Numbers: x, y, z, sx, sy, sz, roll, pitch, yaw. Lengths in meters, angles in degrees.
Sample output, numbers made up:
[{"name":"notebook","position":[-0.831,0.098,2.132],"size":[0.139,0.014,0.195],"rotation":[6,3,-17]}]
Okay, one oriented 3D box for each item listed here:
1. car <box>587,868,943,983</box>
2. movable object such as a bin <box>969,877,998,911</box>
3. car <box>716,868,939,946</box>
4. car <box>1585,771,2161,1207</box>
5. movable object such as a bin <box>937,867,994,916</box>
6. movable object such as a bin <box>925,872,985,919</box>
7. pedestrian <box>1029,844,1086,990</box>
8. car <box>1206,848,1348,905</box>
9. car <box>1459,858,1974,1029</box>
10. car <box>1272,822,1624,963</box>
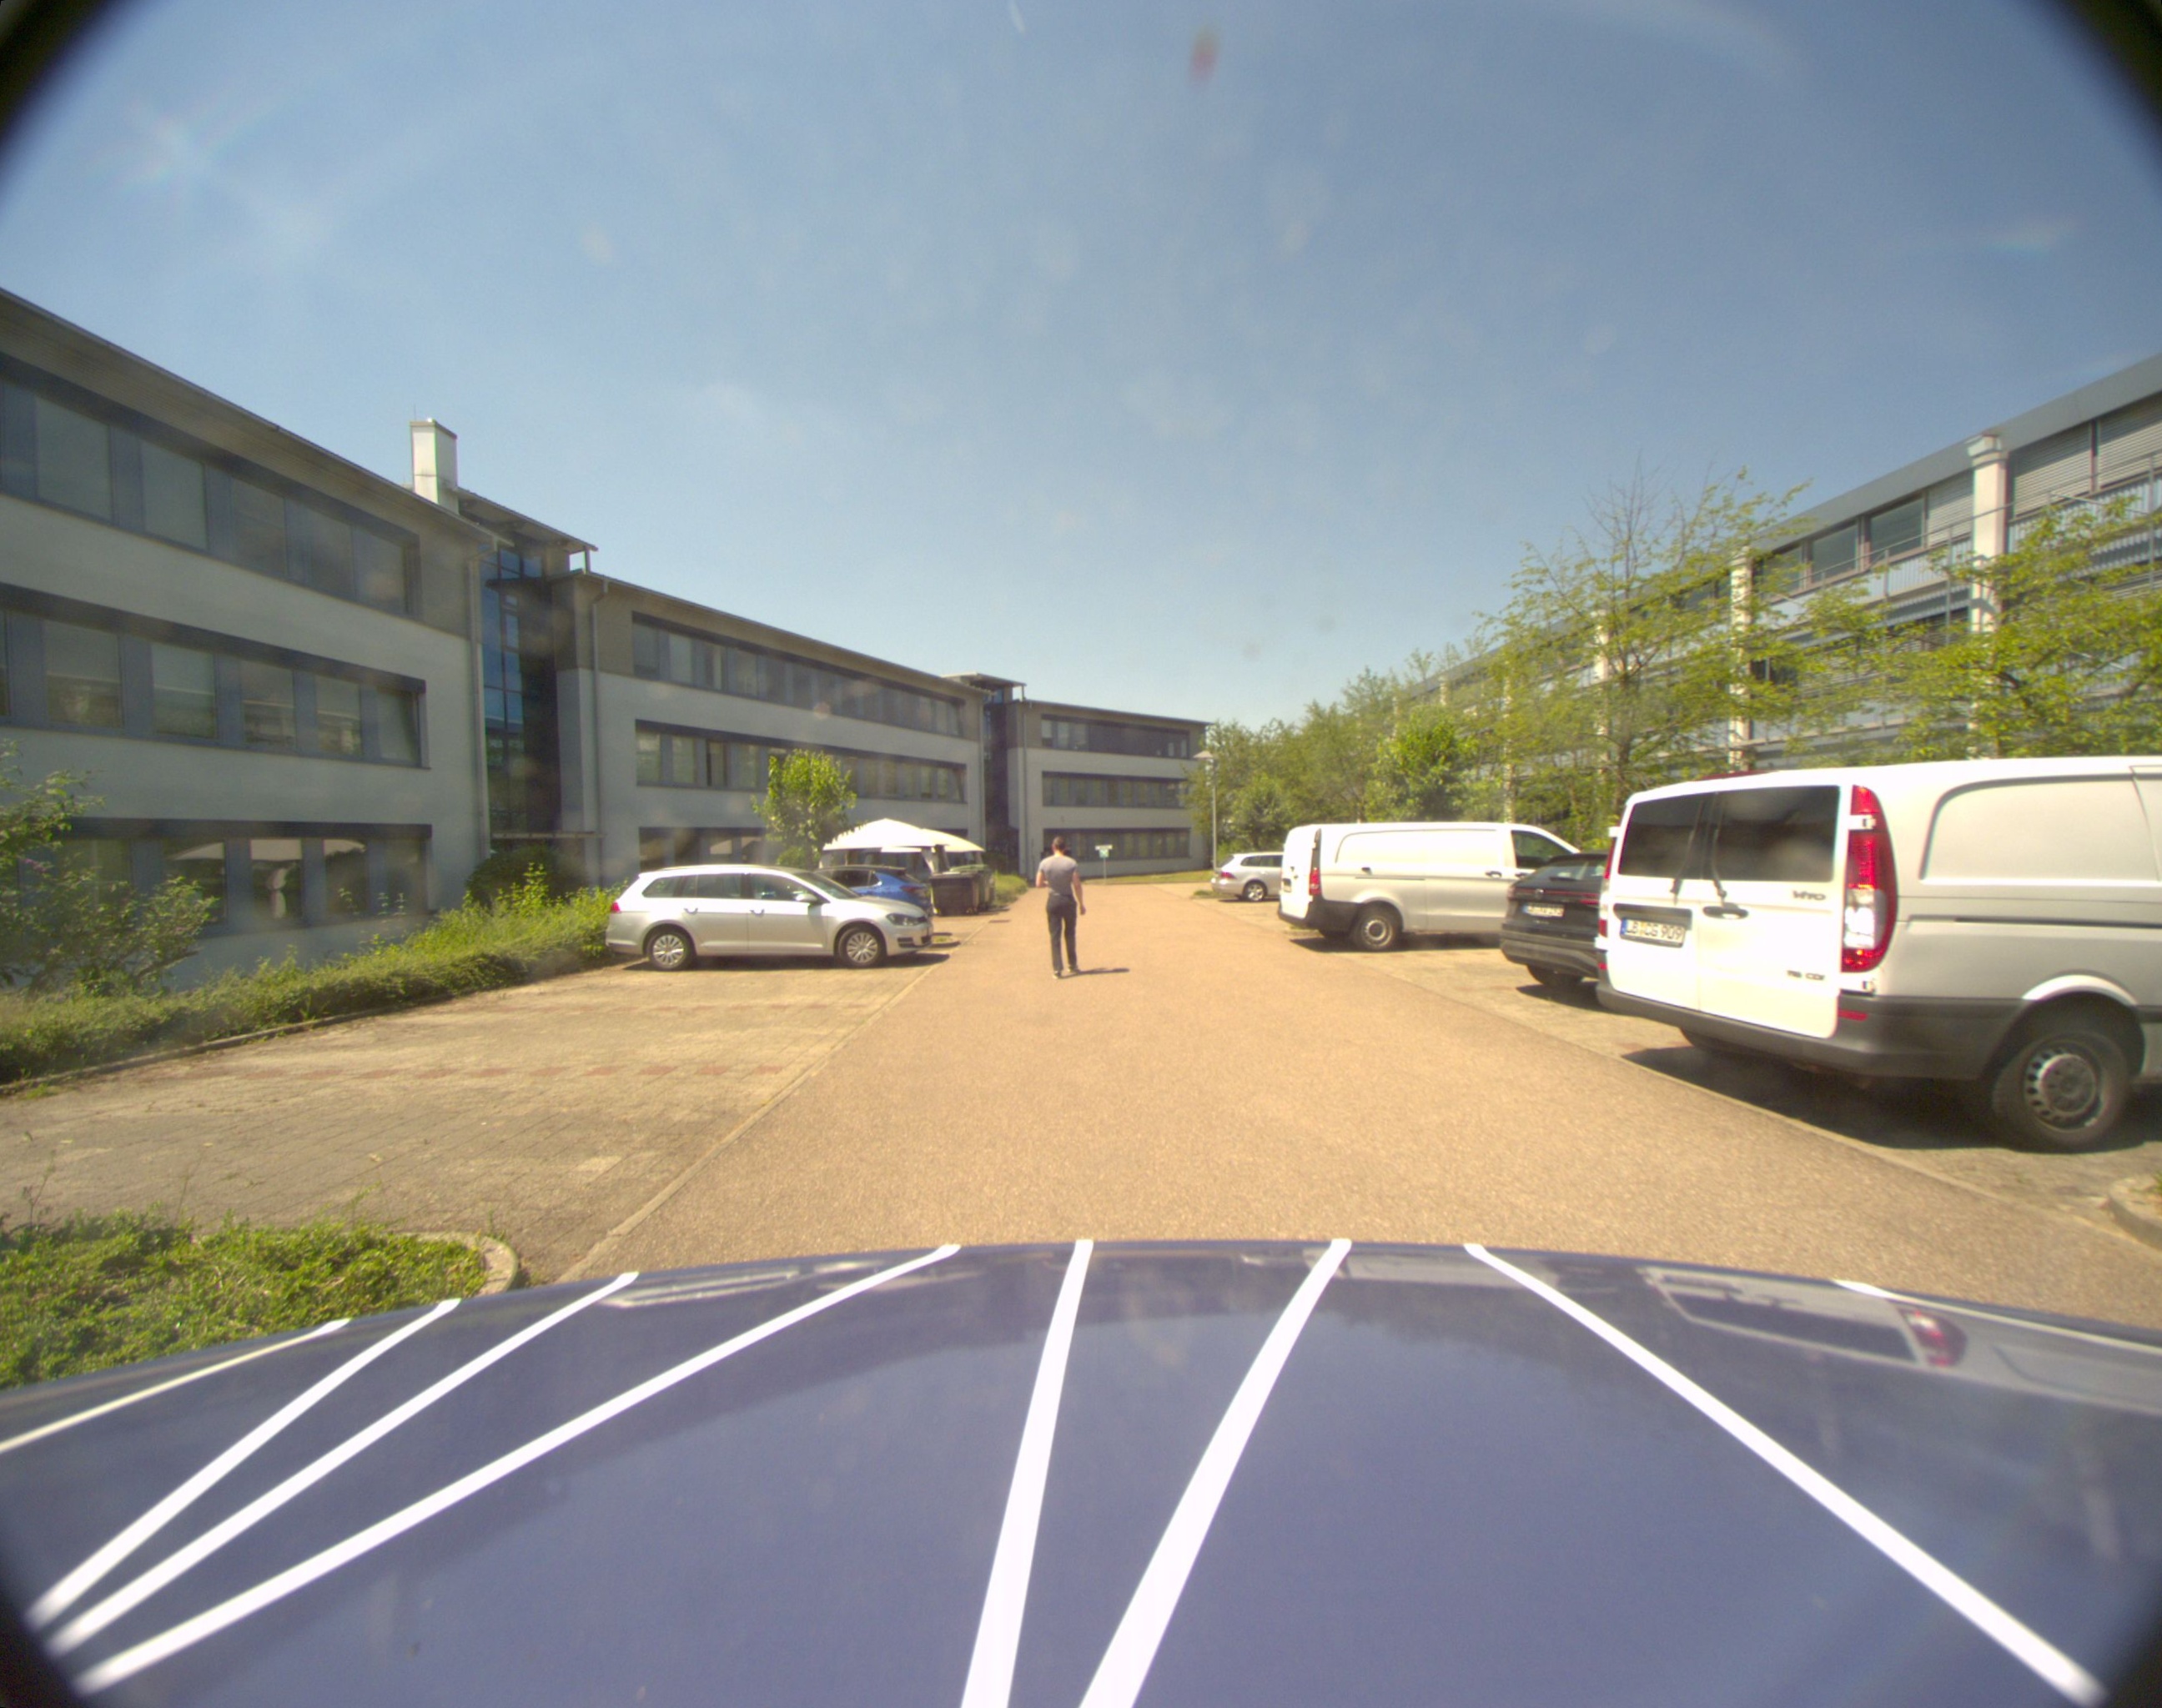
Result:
[{"name":"car","position":[-4.473,0.984,11.320],"size":[4.518,1.488,1.829],"rotation":[0,1,-3]},{"name":"movable object such as a bin","position":[-2.860,1.167,22.279],"size":[0.690,0.944,0.722],"rotation":[-1,1,4]},{"name":"car","position":[-4.846,0.994,14.914],"size":[3.825,1.383,1.651],"rotation":[0,1,-3]},{"name":"car","position":[5.835,0.546,4.356],"size":[4.733,1.895,1.829],"rotation":[-1,1,-3]},{"name":"movable object such as a bin","position":[-3.223,1.039,21.350],"size":[1.363,1.288,1.043],"rotation":[-1,1,4]},{"name":"movable object such as a bin","position":[-3.343,1.090,20.311],"size":[1.363,1.182,0.997],"rotation":[-1,1,4]},{"name":"pedestrian","position":[-0.284,0.757,9.538],"size":[0.618,1.747,0.788],"rotation":[-1,1,2]},{"name":"car","position":[5.796,0.628,22.716],"size":[3.763,1.549,1.660],"rotation":[-1,1,-3]},{"name":"car","position":[6.042,0.791,7.505],"size":[3.849,1.385,1.576],"rotation":[-1,1,-3]},{"name":"car","position":[5.431,0.535,11.631],"size":[4.518,1.871,1.828],"rotation":[-1,1,-3]}]
